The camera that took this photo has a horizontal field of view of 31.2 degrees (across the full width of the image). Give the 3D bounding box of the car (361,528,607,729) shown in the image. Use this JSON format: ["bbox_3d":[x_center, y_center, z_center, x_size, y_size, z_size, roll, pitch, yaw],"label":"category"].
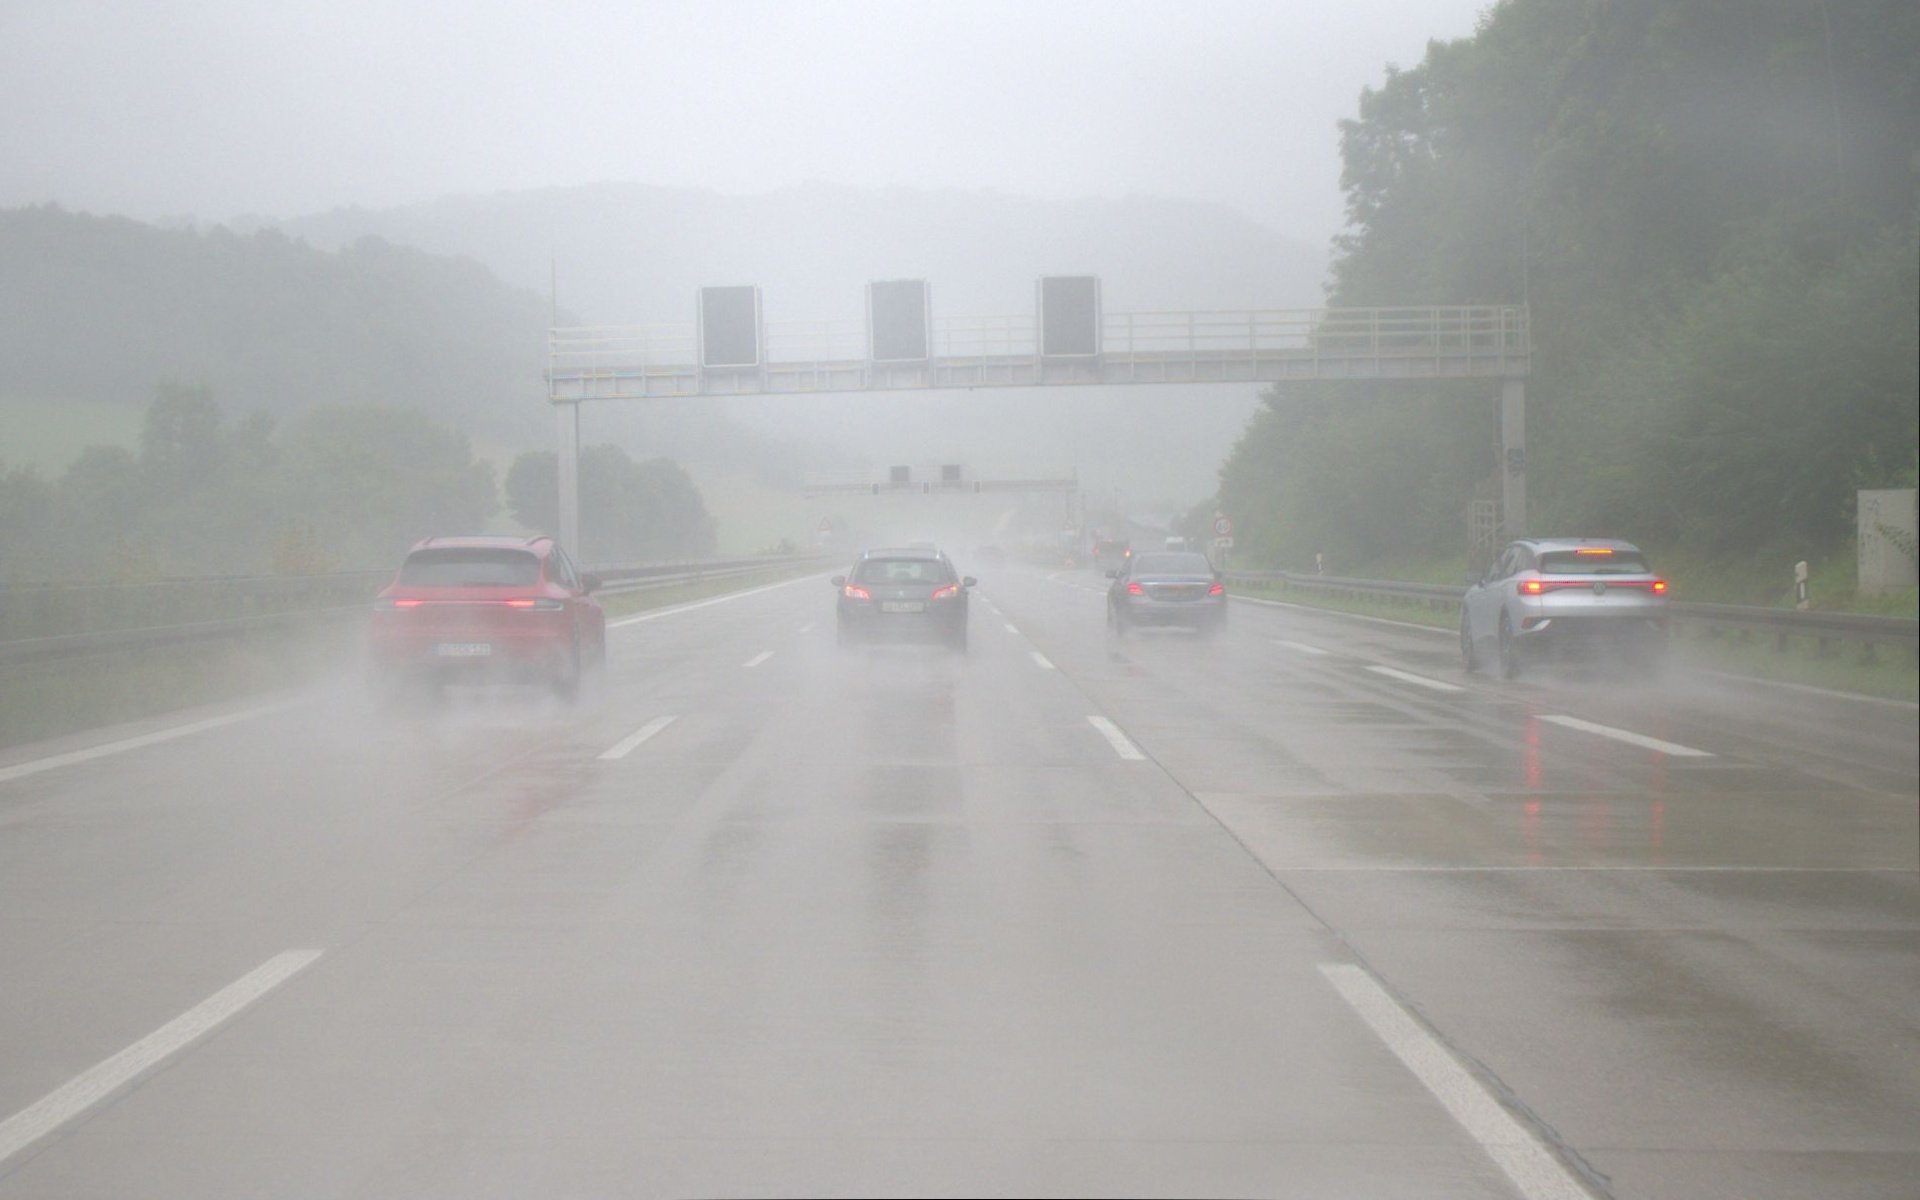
[{"bbox_3d":[-4.498,0.224,32.994,1.884,1.809,4.000,0,1,-1],"label":"car"}]

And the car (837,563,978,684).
[{"bbox_3d":[-0.713,0.291,47.803,1.859,1.584,4.000,1,1,0],"label":"car"}]

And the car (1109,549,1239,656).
[{"bbox_3d":[3.648,0.016,59.237,1.971,1.754,4.000,0,1,0],"label":"car"}]

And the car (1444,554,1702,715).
[{"bbox_3d":[7.166,0.353,40.771,1.993,1.744,5.663,1,1,0],"label":"car"}]
